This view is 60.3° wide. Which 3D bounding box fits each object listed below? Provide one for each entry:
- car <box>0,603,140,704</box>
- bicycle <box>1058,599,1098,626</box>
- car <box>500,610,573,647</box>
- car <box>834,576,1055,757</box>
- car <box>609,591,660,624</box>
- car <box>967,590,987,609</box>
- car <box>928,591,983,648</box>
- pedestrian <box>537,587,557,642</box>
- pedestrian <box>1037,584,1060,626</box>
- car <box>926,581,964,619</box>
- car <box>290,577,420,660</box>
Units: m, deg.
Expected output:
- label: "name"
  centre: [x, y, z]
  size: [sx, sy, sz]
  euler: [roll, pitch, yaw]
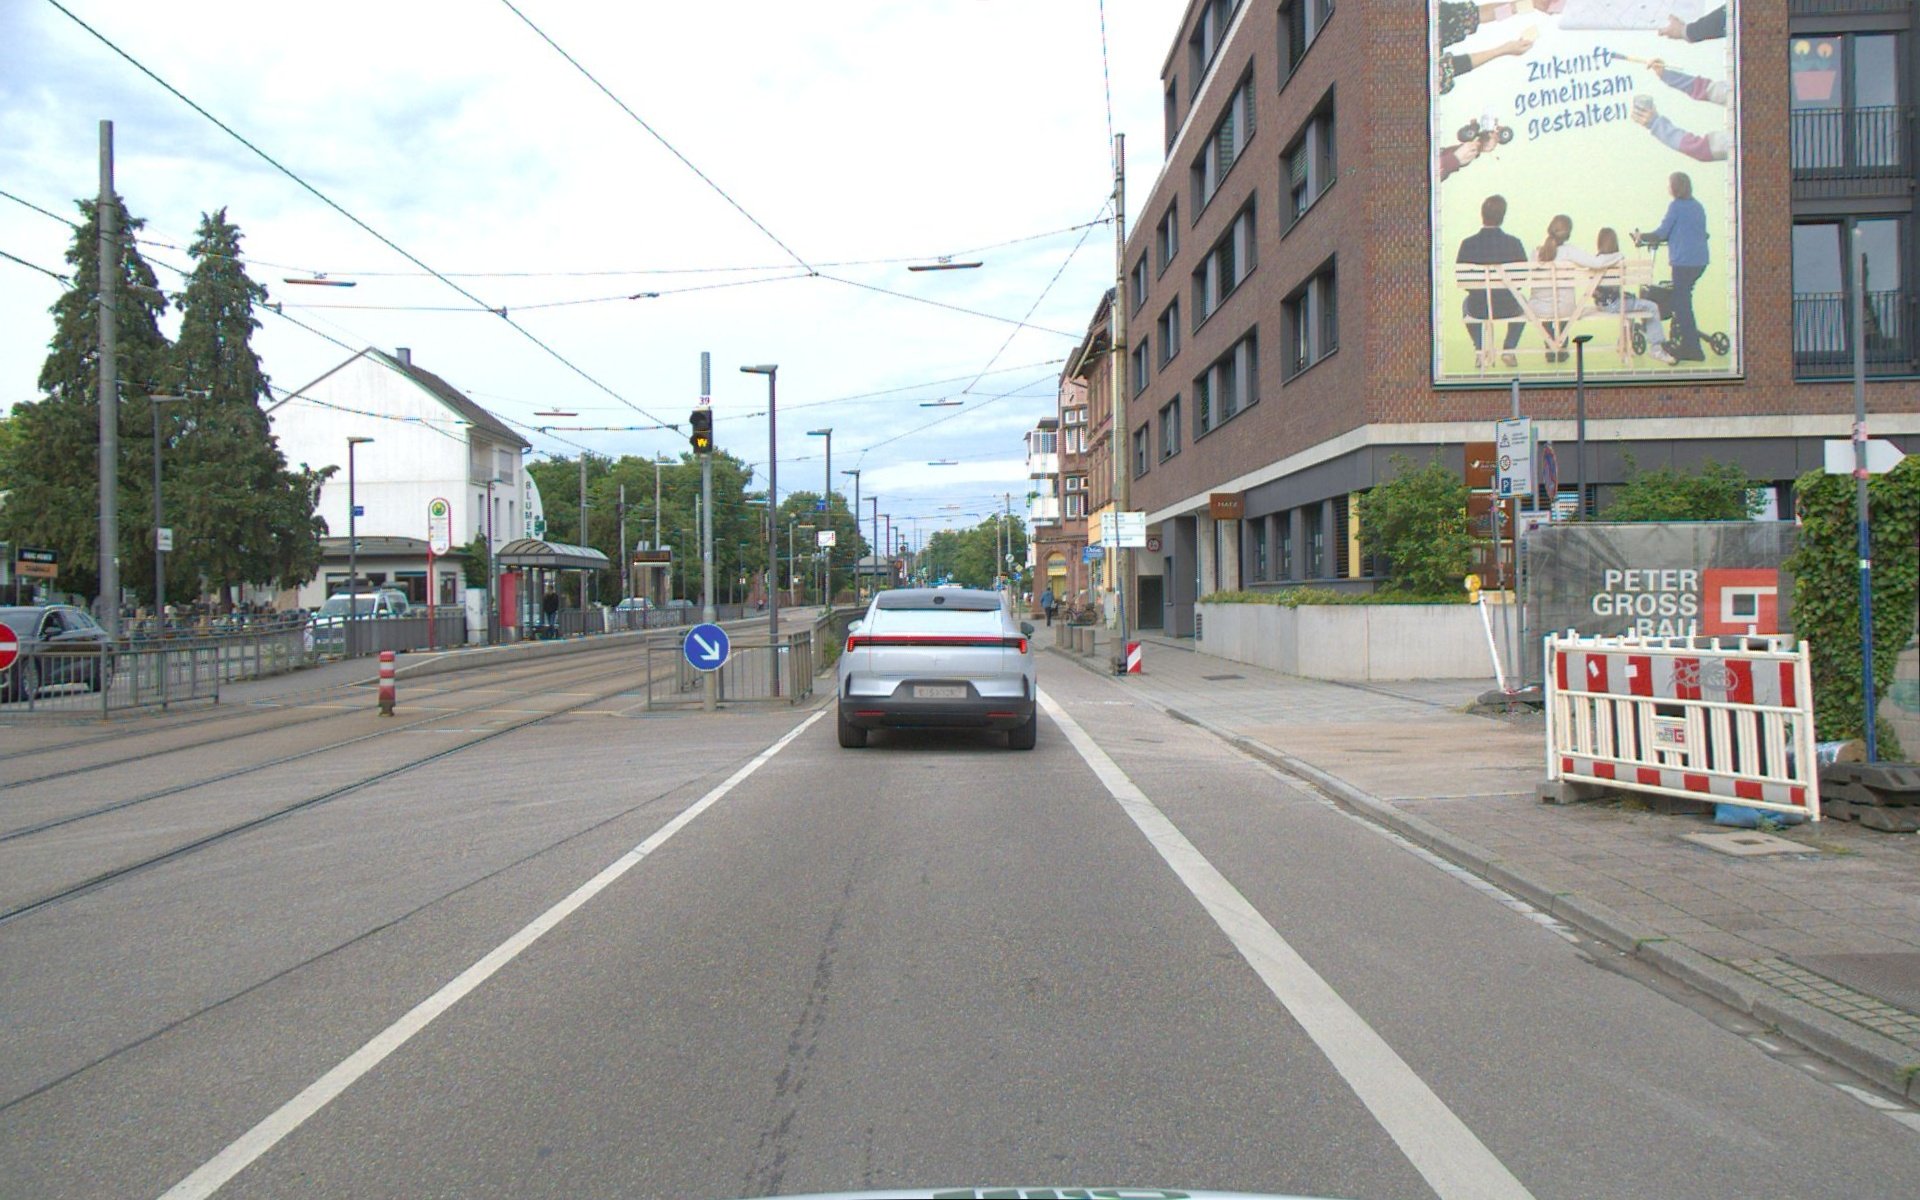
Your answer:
- label: "car"
  centre: [-14.887, 0.812, 25.940]
  size: [1.843, 1.453, 4.424]
  euler: [-2, 0, -1]
- label: "bicycle"
  centre: [5.507, 0.558, 77.095]
  size: [1.742, 1.149, 0.642]
  euler: [-3, 0, -1]
- label: "car"
  centre: [-16.094, 1.076, 62.965]
  size: [1.714, 1.321, 3.833]
  euler: [-1, 0, 1]
- label: "car"
  centre: [-0.285, 0.616, 16.848]
  size: [1.960, 1.608, 3.996]
  euler: [0, -1, -5]
- label: "car"
  centre: [-16.695, 0.369, 84.998]
  size: [1.826, 1.512, 3.999]
  euler: [-3, 0, -1]
- label: "car"
  centre: [2.404, -0.055, 236.298]
  size: [2.750, 2.549, 5.721]
  euler: [0, 0, 0]
- label: "car"
  centre: [-0.142, 0.594, 51.232]
  size: [1.646, 1.717, 3.823]
  euler: [0, 0, 0]
- label: "pedestrian"
  centre: [-12.904, 0.444, 51.686]
  size: [0.605, 1.694, 0.695]
  euler: [0, -1, -14]
- label: "pedestrian"
  centre: [4.132, 0.211, 77.163]
  size: [0.940, 1.882, 0.976]
  euler: [-3, 1, 5]
- label: "car"
  centre: [-1.003, 0.010, 108.686]
  size: [2.182, 2.444, 5.119]
  euler: [0, 0, -4]
- label: "car"
  centre: [-15.858, 0.459, 43.583]
  size: [1.846, 2.023, 4.523]
  euler: [-1, 0, -2]
